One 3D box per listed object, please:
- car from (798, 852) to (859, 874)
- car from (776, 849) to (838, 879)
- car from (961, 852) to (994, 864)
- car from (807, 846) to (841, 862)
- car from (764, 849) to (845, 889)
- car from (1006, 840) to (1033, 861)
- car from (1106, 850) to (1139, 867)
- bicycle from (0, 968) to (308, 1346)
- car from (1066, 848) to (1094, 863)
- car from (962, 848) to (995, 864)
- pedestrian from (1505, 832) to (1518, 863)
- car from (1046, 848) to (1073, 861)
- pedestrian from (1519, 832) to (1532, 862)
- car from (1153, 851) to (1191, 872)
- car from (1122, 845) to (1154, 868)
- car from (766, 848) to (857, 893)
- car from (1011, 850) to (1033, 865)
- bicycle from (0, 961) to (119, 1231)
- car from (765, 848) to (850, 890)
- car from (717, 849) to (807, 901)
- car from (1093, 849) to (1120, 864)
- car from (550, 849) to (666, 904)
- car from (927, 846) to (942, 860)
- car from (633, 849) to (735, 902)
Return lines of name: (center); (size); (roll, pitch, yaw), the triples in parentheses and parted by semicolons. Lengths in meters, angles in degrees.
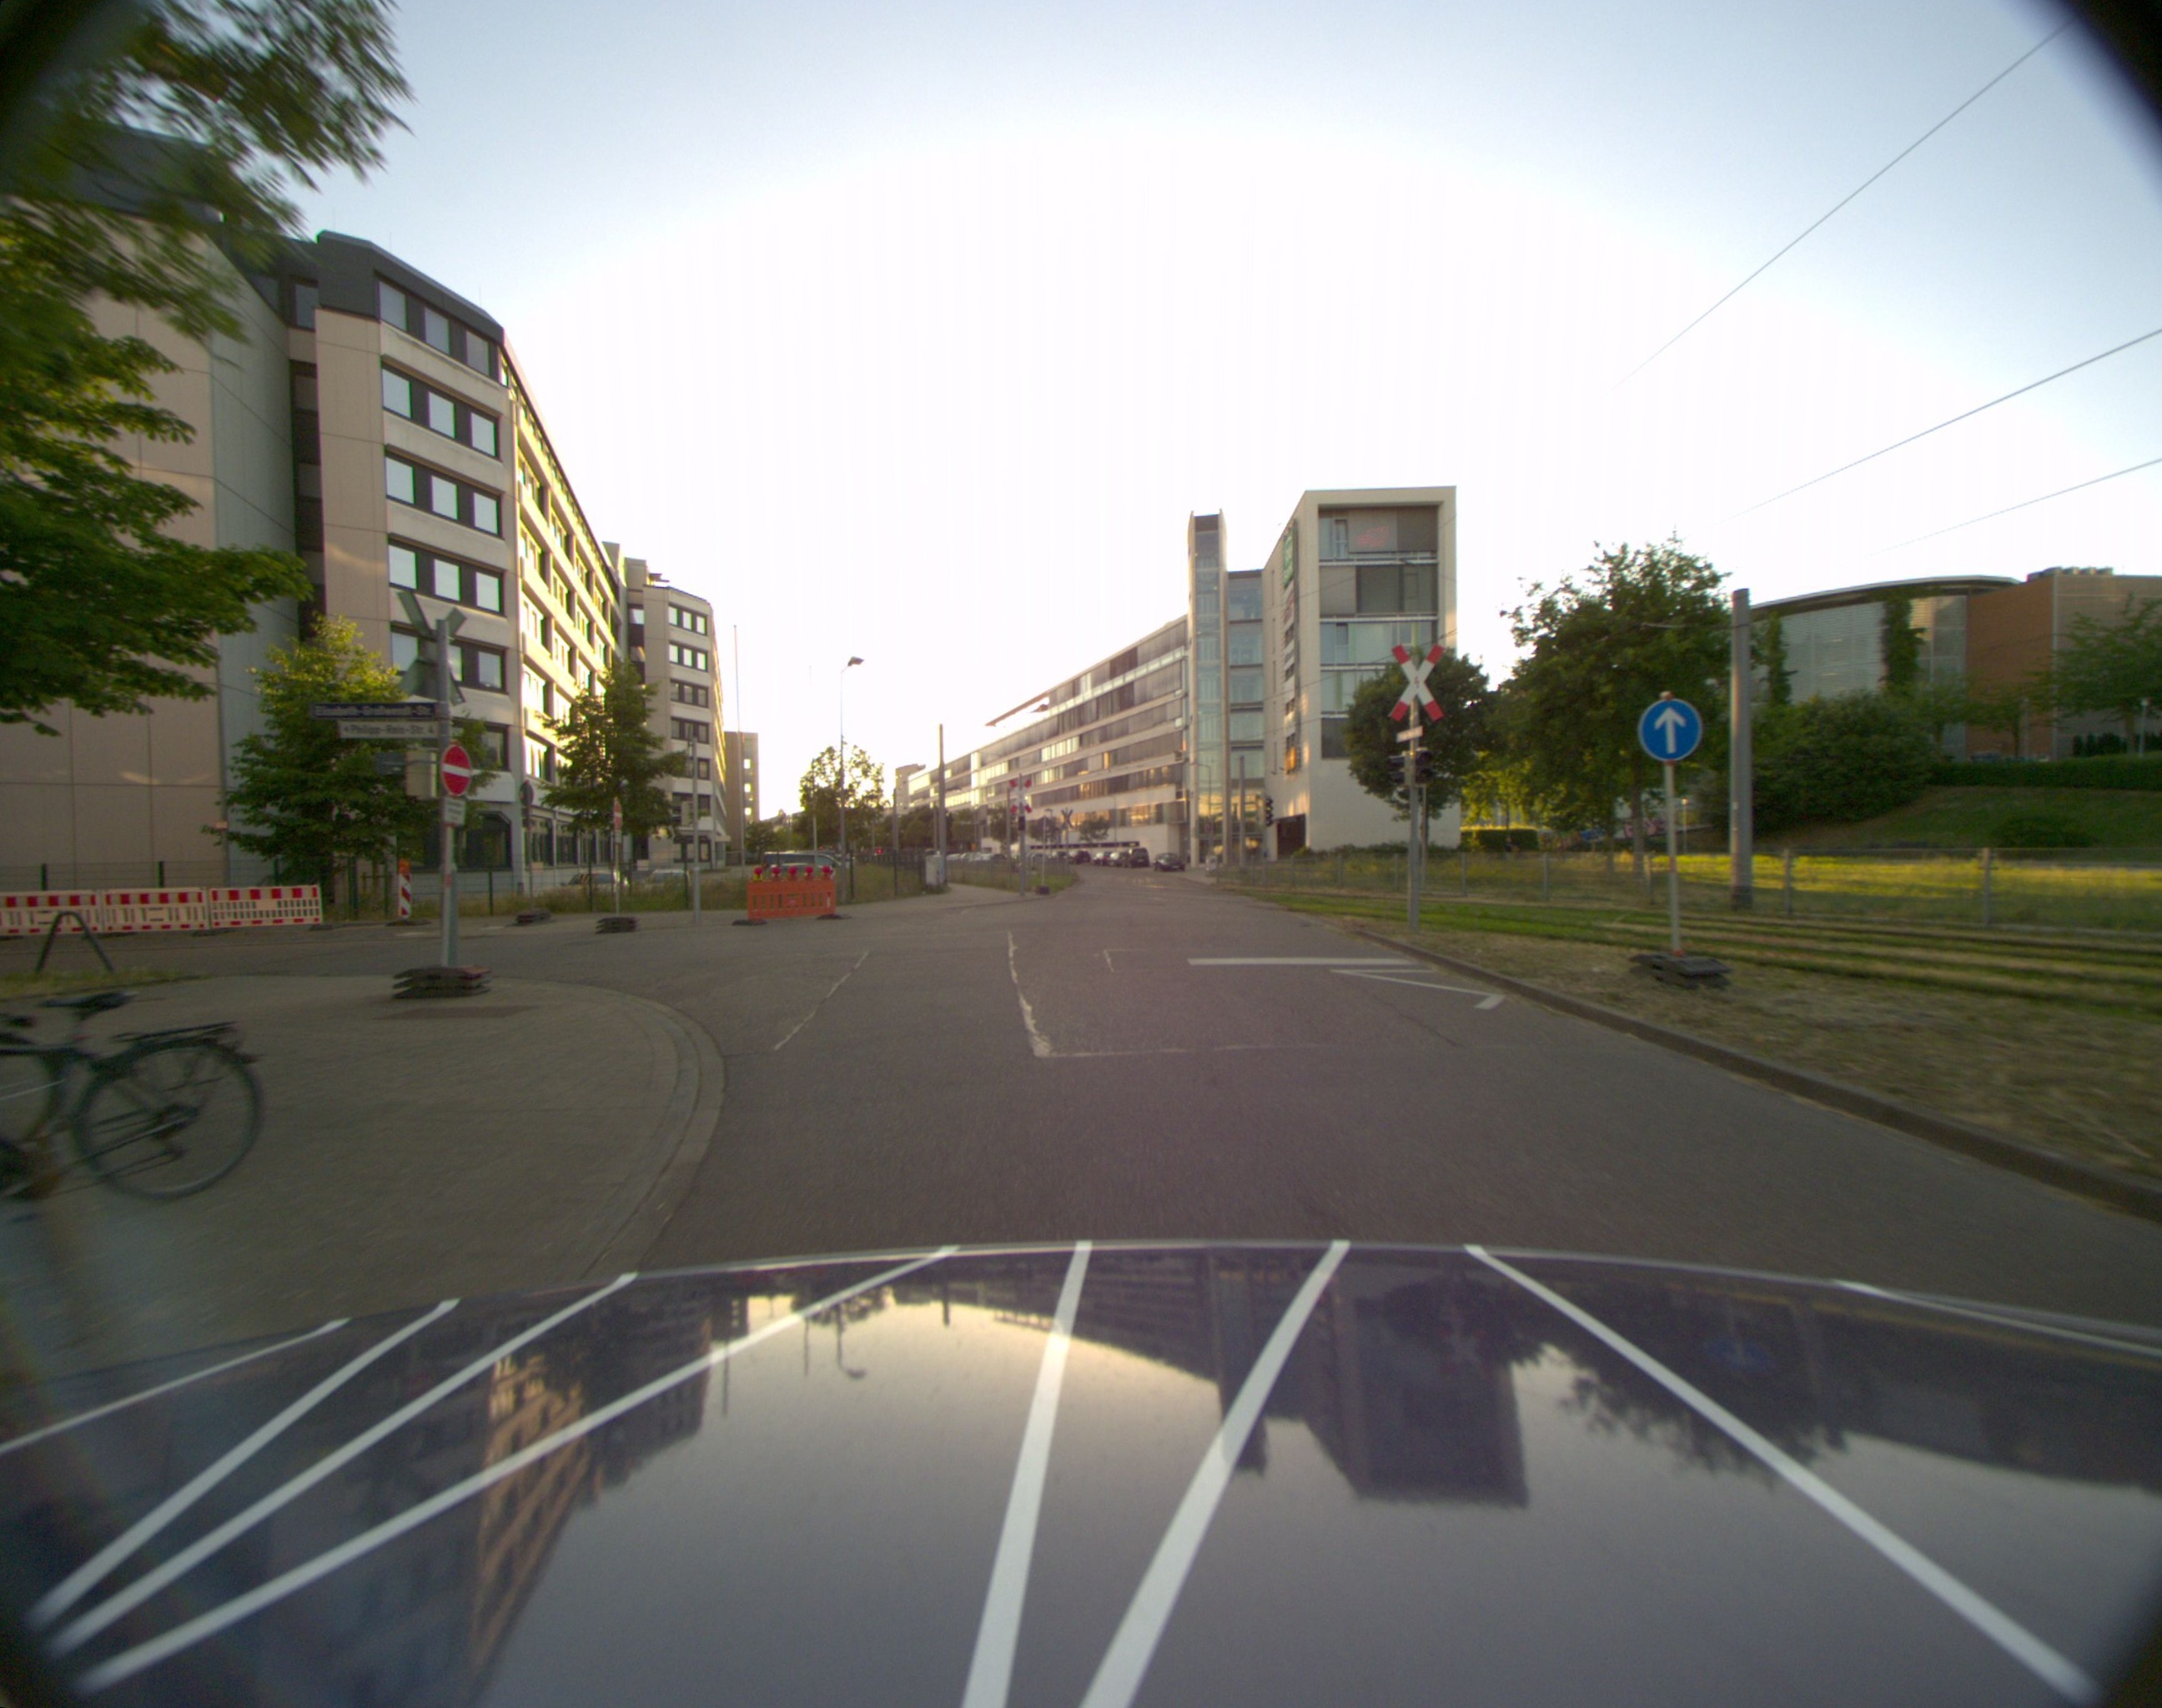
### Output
car: (-20.032, 0.719, 60.234); (4.410, 1.584, 1.814); (-2, 1, -22)
car: (-19.542, 0.657, 54.118); (4.004, 2.002, 1.996); (-2, 1, -22)
car: (-11.806, 0.452, 86.757); (1.713, 1.368, 4.007); (-1, 1, 29)
car: (-34.229, -0.022, 101.282); (4.005, 2.002, 1.996); (-1, 1, -26)
car: (-15.026, 0.786, 41.422); (4.004, 2.002, 1.996); (-1, 1, -20)
car: (-8.636, -0.503, 106.662); (2.008, 2.859, 6.243); (0, 0, -23)
car: (4.040, 0.414, 74.595); (1.867, 1.468, 4.514); (-3, 1, -14)
bicycle: (-4.081, 1.112, 2.792); (0.719, 1.145, 1.897); (1, -1, -8)
car: (-0.145, 0.155, 87.399); (1.799, 1.676, 3.992); (-1, 0, -23)
car: (-12.136, 0.224, 90.084); (1.713, 1.746, 4.007); (-1, 1, 31)
pedestrian: (26.395, -0.400, 46.592); (0.450, 1.826, 0.483); (-3, 1, -18)
car: (-2.628, 0.062, 93.396); (1.800, 1.542, 3.991); (-3, 1, -26)
pedestrian: (27.126, -0.439, 46.392); (0.438, 1.826, 0.483); (-3, 1, -18)
car: (6.967, 0.554, 58.448); (1.858, 1.434, 4.225); (-3, 1, -7)
car: (5.173, 0.212, 69.734); (1.895, 1.961, 4.514); (-3, 1, -8)
car: (-12.979, 0.745, 36.690); (4.004, 2.002, 1.996); (-1, 1, -20)
car: (-6.381, 0.388, 81.824); (1.633, 1.503, 3.412); (-1, 0, -17)
bicycle: (-5.160, 1.094, 2.826); (0.680, 1.145, 1.928); (1, -1, 0)
car: (-14.131, 0.747, 39.400); (4.004, 2.002, 1.996); (-1, 1, -20)
car: (-13.267, 0.823, 31.890); (1.998, 2.002, 4.000); (-1, 0, 1)
car: (2.634, 0.222, 79.305); (1.654, 1.468, 3.760); (-1, 0, -17)
car: (-18.603, 0.813, 30.122); (1.998, 2.002, 4.000); (-1, 0, 1)
car: (-29.736, -0.188, 153.856); (2.002, 2.570, 3.992); (-1, 0, -25)
car: (-16.305, 0.817, 31.460); (1.998, 2.002, 4.000); (-1, 0, 1)
